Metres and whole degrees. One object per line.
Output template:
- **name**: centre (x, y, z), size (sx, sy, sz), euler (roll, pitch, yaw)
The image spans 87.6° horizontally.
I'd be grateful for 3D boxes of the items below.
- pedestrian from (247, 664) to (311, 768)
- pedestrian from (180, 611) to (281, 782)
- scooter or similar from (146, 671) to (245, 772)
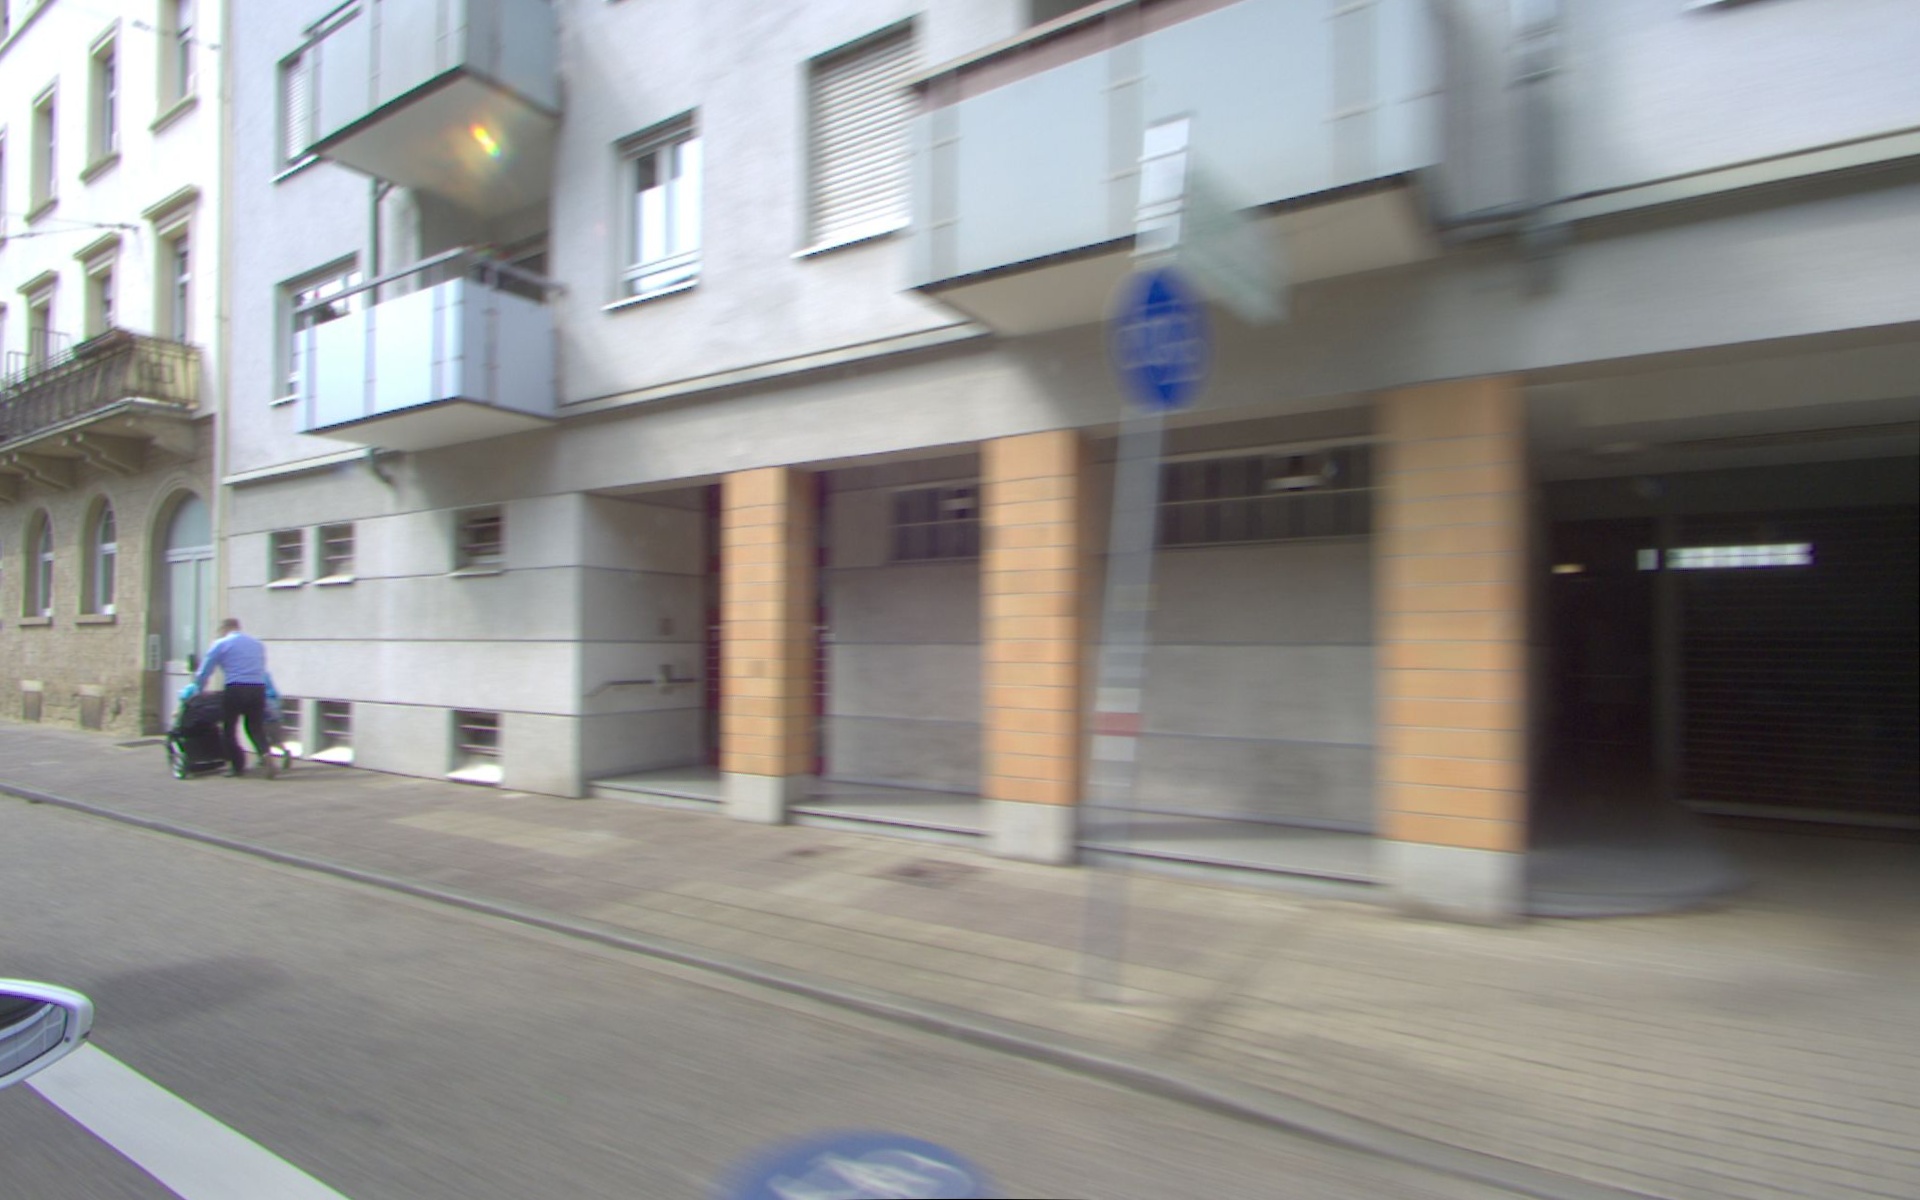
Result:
- **pedestrian**: centre (-7.858, 1.318, 11.558), size (0.487, 1.149, 0.455), euler (-1, -2, 34)
- **pedestrian**: centre (-7.868, 1.004, 10.799), size (0.865, 1.761, 0.619), euler (-1, 0, 34)
- **scooter or similar**: centre (-8.572, 1.343, 11.229), size (0.893, 1.016, 0.590), euler (-1, 2, 34)
